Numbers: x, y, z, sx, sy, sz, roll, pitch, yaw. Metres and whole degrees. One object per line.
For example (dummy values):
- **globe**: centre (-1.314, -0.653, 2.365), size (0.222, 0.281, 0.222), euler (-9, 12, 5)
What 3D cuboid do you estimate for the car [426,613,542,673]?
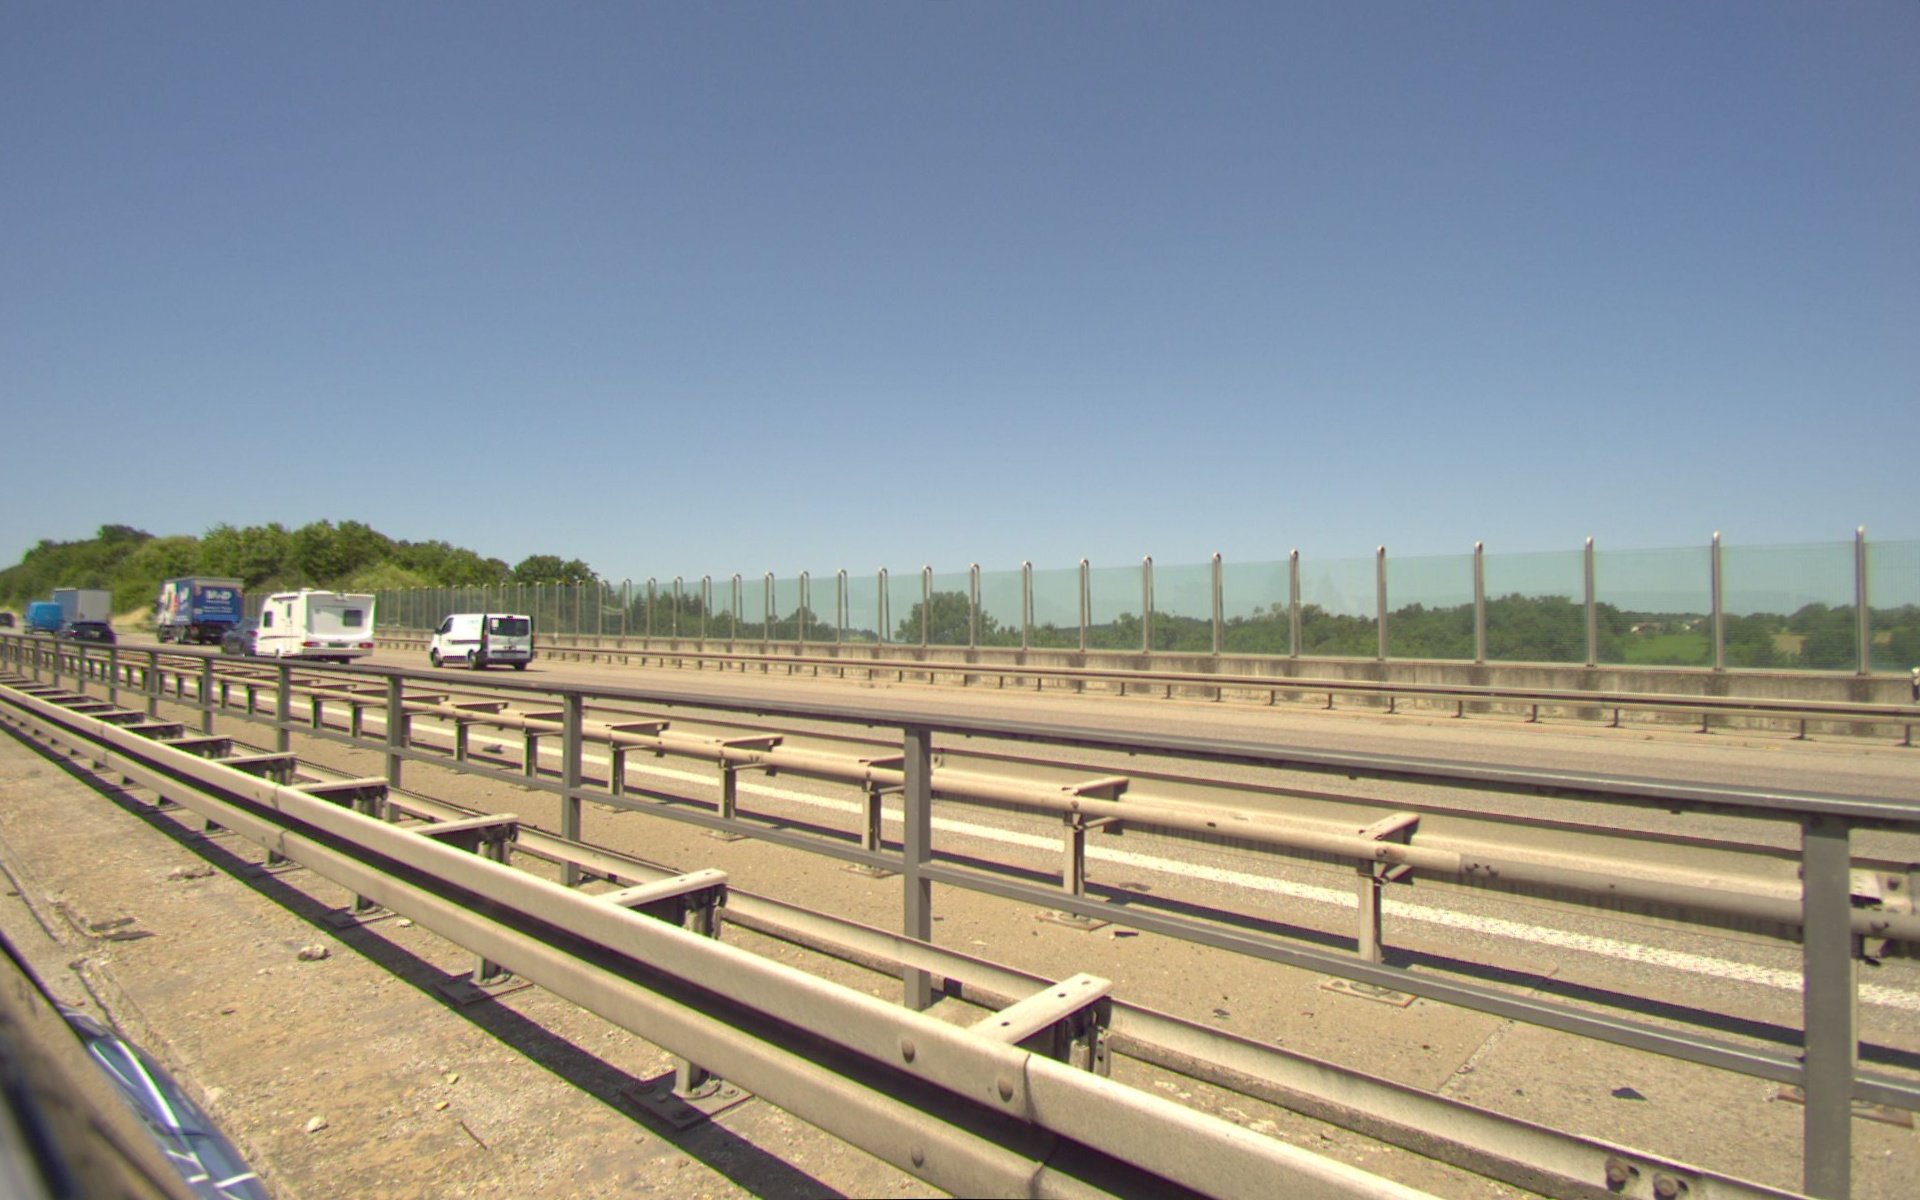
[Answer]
- **car**: centre (-16.945, 1.518, 35.930), size (4.487, 1.999, 2.013), euler (-1, -4, 41)

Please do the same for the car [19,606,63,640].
- **car**: centre (-74.072, 1.830, 81.537), size (5.034, 2.610, 1.961), euler (-1, -3, 41)

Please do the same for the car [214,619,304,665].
- **car**: centre (-26.931, 1.607, 38.811), size (4.266, 1.654, 1.783), euler (-1, -4, 41)

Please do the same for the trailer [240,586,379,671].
- **trailer**: centre (-22.824, 1.022, 35.375), size (6.357, 2.727, 2.292), euler (-1, -4, 41)

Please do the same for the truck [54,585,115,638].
- **truck**: centre (-80.269, 1.063, 92.693), size (9.986, 4.575, 2.839), euler (-1, -4, 42)

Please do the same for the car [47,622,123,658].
- **car**: centre (-37.451, 1.702, 43.296), size (3.998, 1.405, 1.829), euler (-1, -4, 41)

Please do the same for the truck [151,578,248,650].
- **truck**: centre (-47.584, 0.896, 63.175), size (9.986, 4.117, 2.839), euler (-1, -4, 42)

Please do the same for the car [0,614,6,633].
- **car**: centre (-108.643, 2.614, 113.476), size (4.237, 2.086, 1.961), euler (-1, -3, 41)
